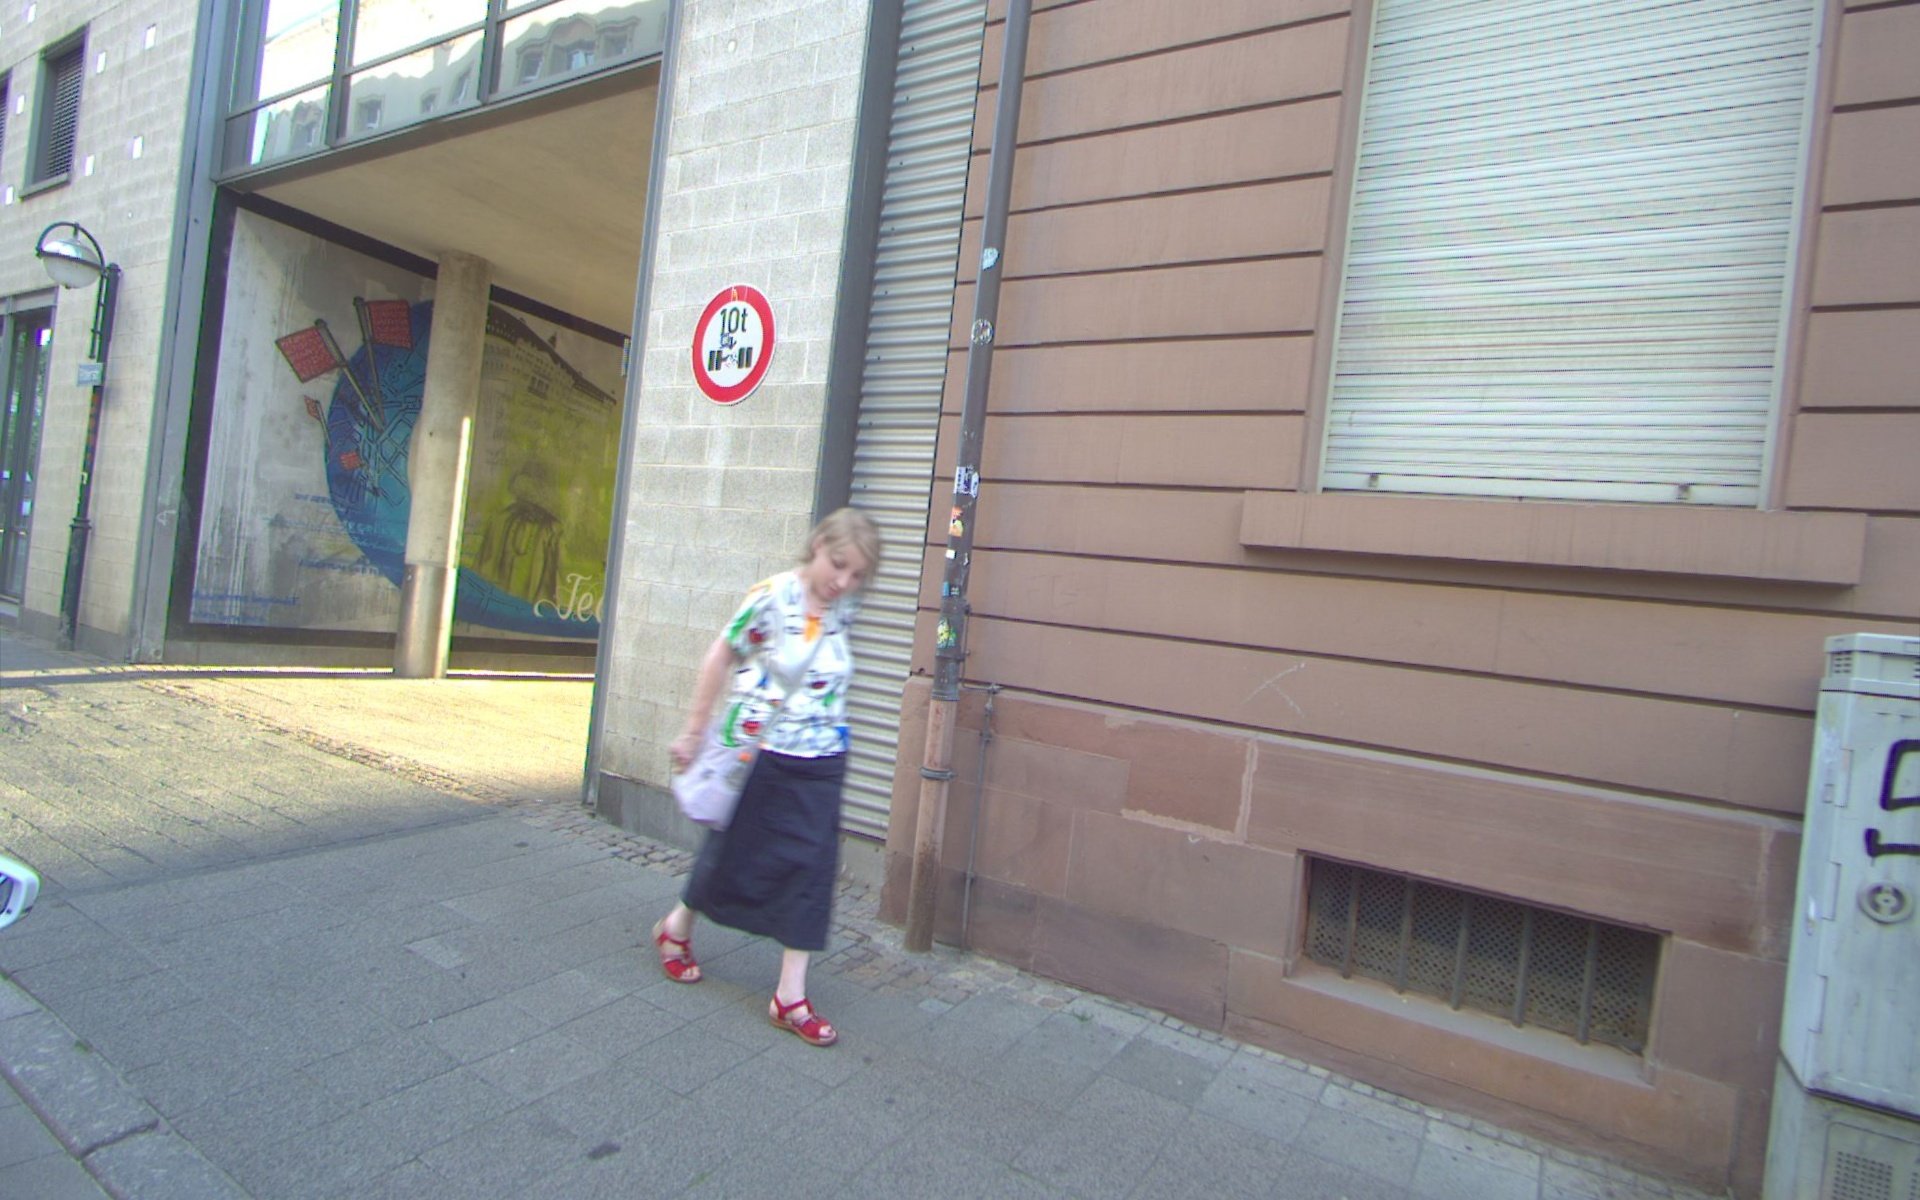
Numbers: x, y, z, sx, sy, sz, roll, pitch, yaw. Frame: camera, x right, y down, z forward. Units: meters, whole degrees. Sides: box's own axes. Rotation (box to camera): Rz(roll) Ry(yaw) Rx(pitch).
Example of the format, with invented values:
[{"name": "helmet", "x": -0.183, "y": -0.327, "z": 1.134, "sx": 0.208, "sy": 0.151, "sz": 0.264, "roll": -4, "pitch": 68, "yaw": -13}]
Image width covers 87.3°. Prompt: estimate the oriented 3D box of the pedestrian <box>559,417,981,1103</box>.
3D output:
[{"name": "pedestrian", "x": -0.607, "y": 0.413, "z": 3.253, "sx": 0.883, "sy": 1.827, "sz": 0.844, "roll": 7, "pitch": 3, "yaw": 37}]
